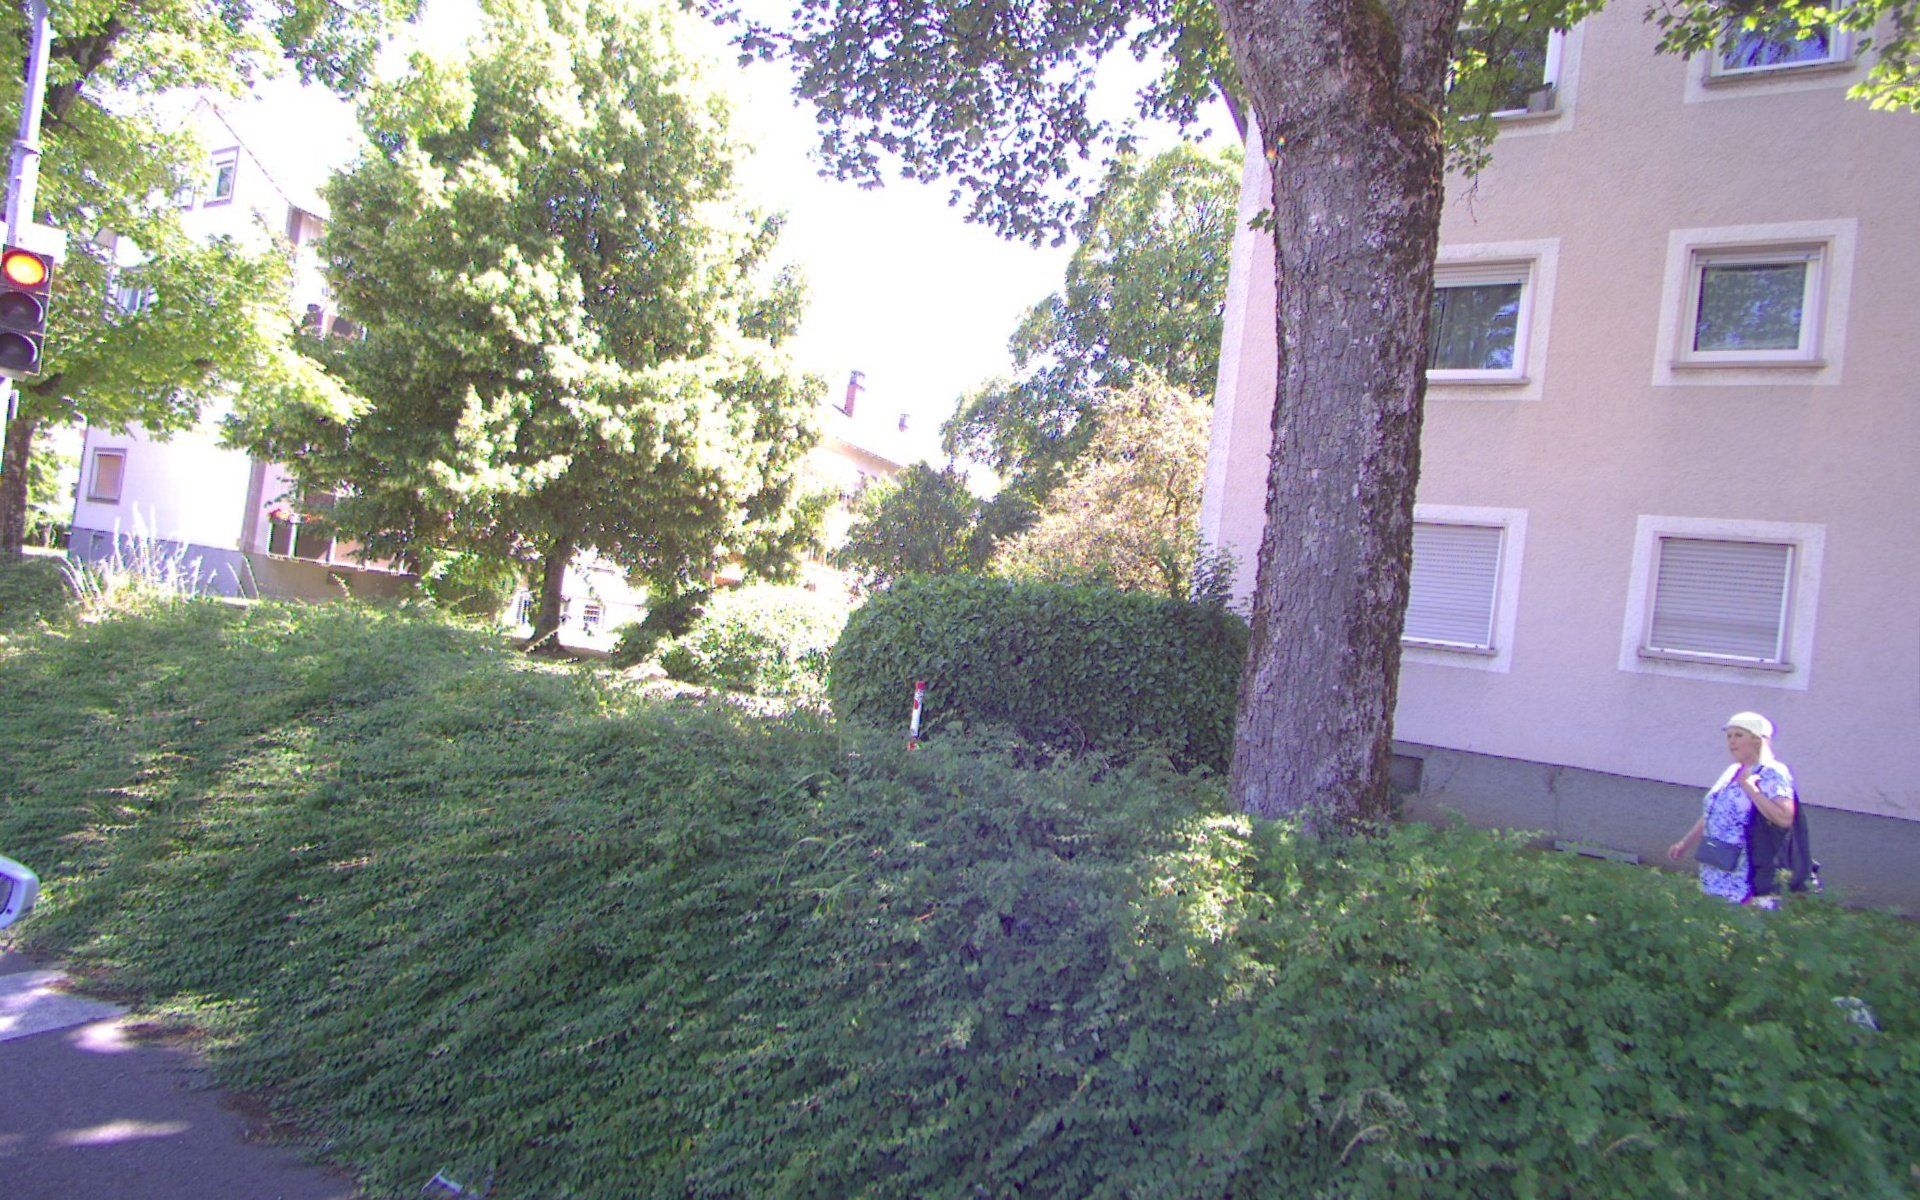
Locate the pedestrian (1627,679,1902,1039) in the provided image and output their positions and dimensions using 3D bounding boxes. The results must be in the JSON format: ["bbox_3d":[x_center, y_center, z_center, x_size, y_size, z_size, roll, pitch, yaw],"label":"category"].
[{"bbox_3d":[4.262,1.306,5.412,0.836,1.653,0.720,7,0,23],"label":"pedestrian"}]
